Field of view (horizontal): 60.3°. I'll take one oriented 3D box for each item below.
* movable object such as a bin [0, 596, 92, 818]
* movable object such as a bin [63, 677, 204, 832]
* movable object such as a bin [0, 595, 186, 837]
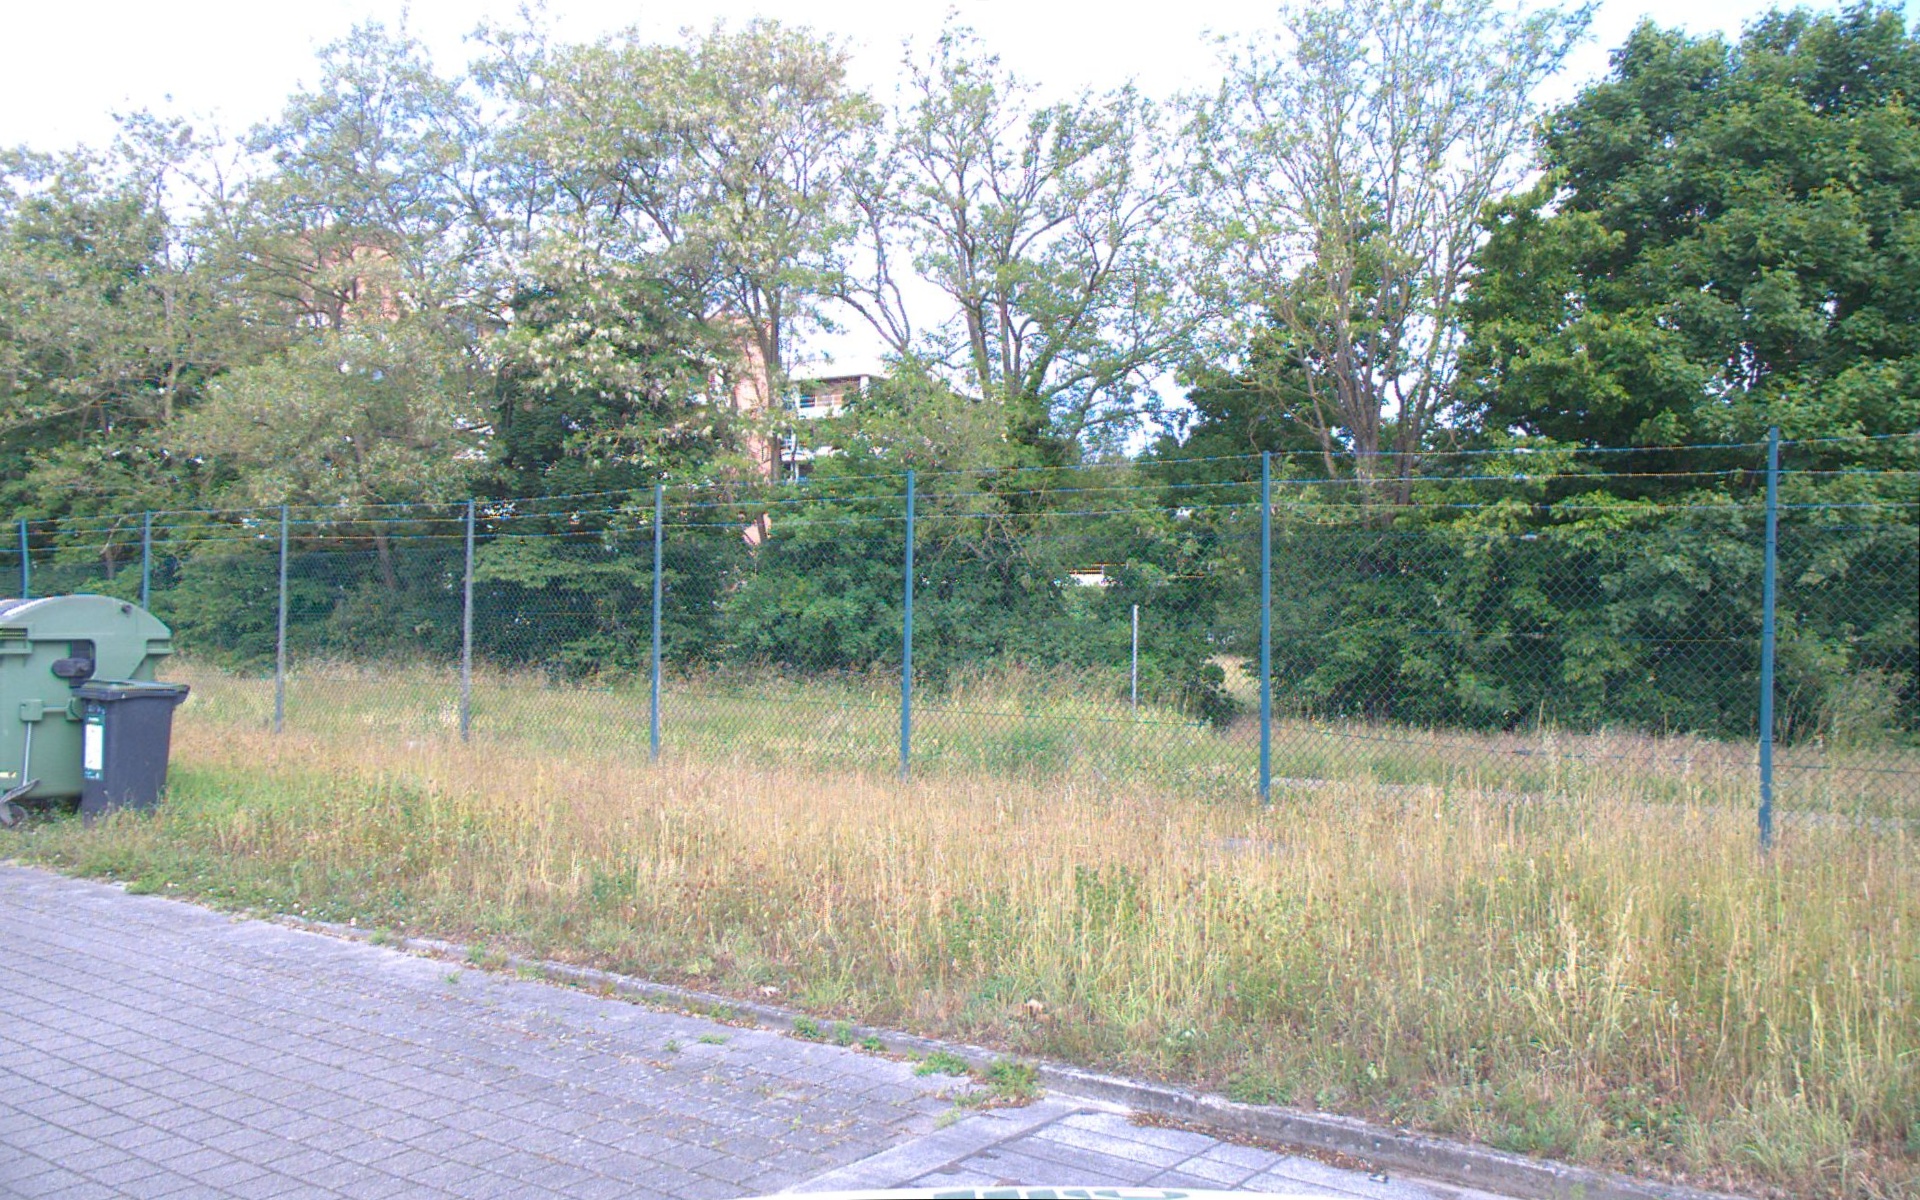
[{"bbox_3d":[-6.834,0.715,11.363,1.371,1.460,1.068,-1,-2,38],"label":"movable object such as a bin"},{"bbox_3d":[-4.999,0.916,10.002,0.576,0.881,0.597,-2,-3,44],"label":"movable object such as a bin"},{"bbox_3d":[-5.782,0.704,10.550,1.333,1.420,1.124,-2,-3,44],"label":"movable object such as a bin"}]
